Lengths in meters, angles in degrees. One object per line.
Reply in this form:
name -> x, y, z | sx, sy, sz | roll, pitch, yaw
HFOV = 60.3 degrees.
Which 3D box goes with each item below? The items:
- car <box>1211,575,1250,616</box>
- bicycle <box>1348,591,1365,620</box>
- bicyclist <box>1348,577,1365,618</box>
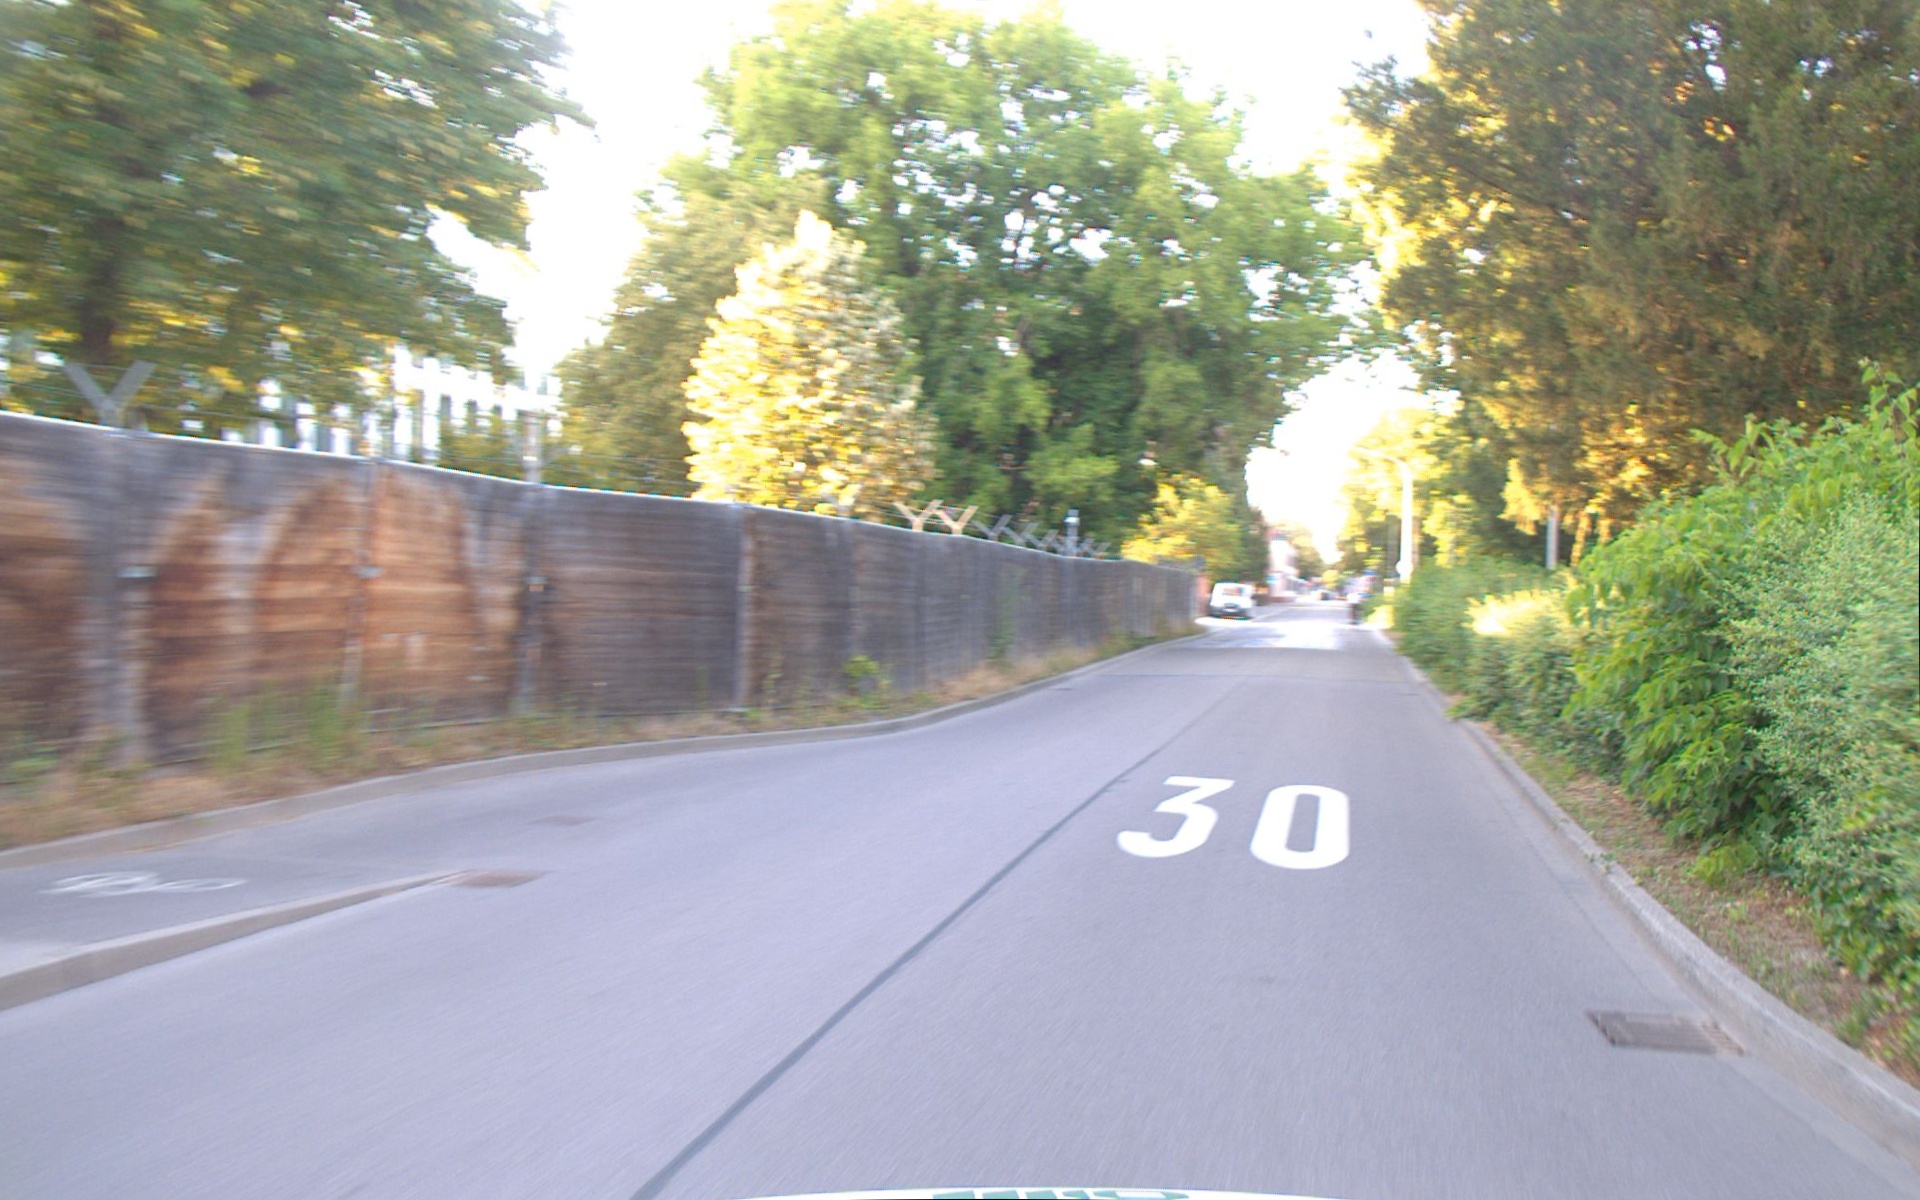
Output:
car -> 14.863, -0.220, 90.759 | 1.842, 2.049, 5.230 | 3, 0, 11
bicycle -> 16.959, 0.230, 70.776 | 0.624, 1.214, 1.877 | 2, 0, 11
bicyclist -> 16.977, -0.112, 70.840 | 0.625, 1.696, 0.843 | 2, 0, 11
